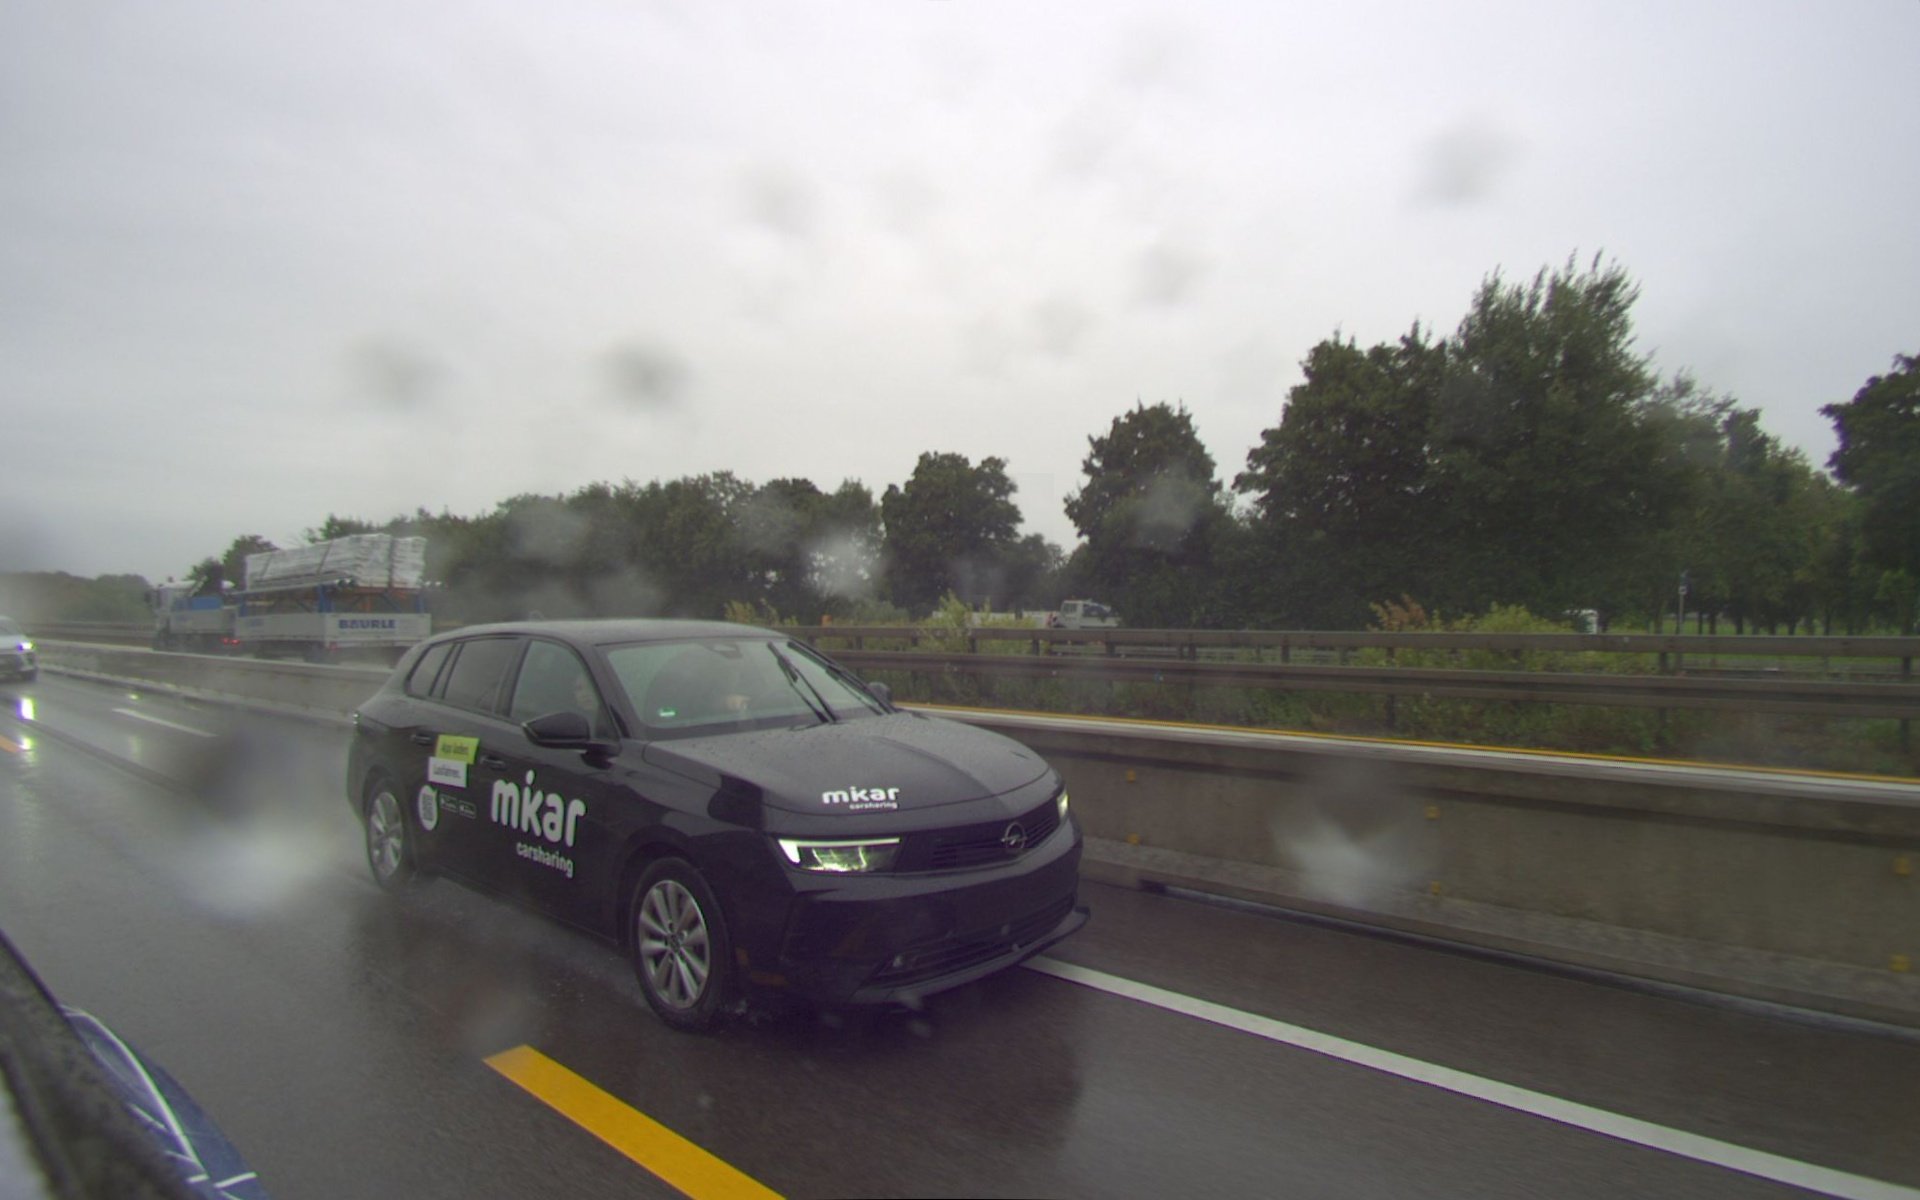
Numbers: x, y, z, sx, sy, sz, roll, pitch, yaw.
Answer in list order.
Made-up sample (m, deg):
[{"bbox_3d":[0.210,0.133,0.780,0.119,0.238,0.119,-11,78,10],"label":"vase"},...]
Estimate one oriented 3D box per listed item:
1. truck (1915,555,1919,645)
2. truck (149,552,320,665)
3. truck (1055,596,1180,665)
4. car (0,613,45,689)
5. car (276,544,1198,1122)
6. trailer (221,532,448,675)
[{"bbox_3d":[33.123,-0.071,28.533,8.900,2.724,2.488,-1,-1,42],"label":"truck"},{"bbox_3d":[-24.871,0.326,34.441,9.547,3.373,2.612,-1,-1,41],"label":"truck"},{"bbox_3d":[7.929,1.456,51.311,5.869,3.237,2.584,1,1,44],"label":"truck"},{"bbox_3d":[-24.228,1.222,24.860,3.994,1.693,1.948,1,1,38],"label":"car"},{"bbox_3d":[-1.462,0.658,4.988,4.791,1.539,1.919,-1,-1,40],"label":"car"},{"bbox_3d":[-17.603,0.157,28.080,9.709,3.388,2.634,-1,-1,41],"label":"trailer"}]
